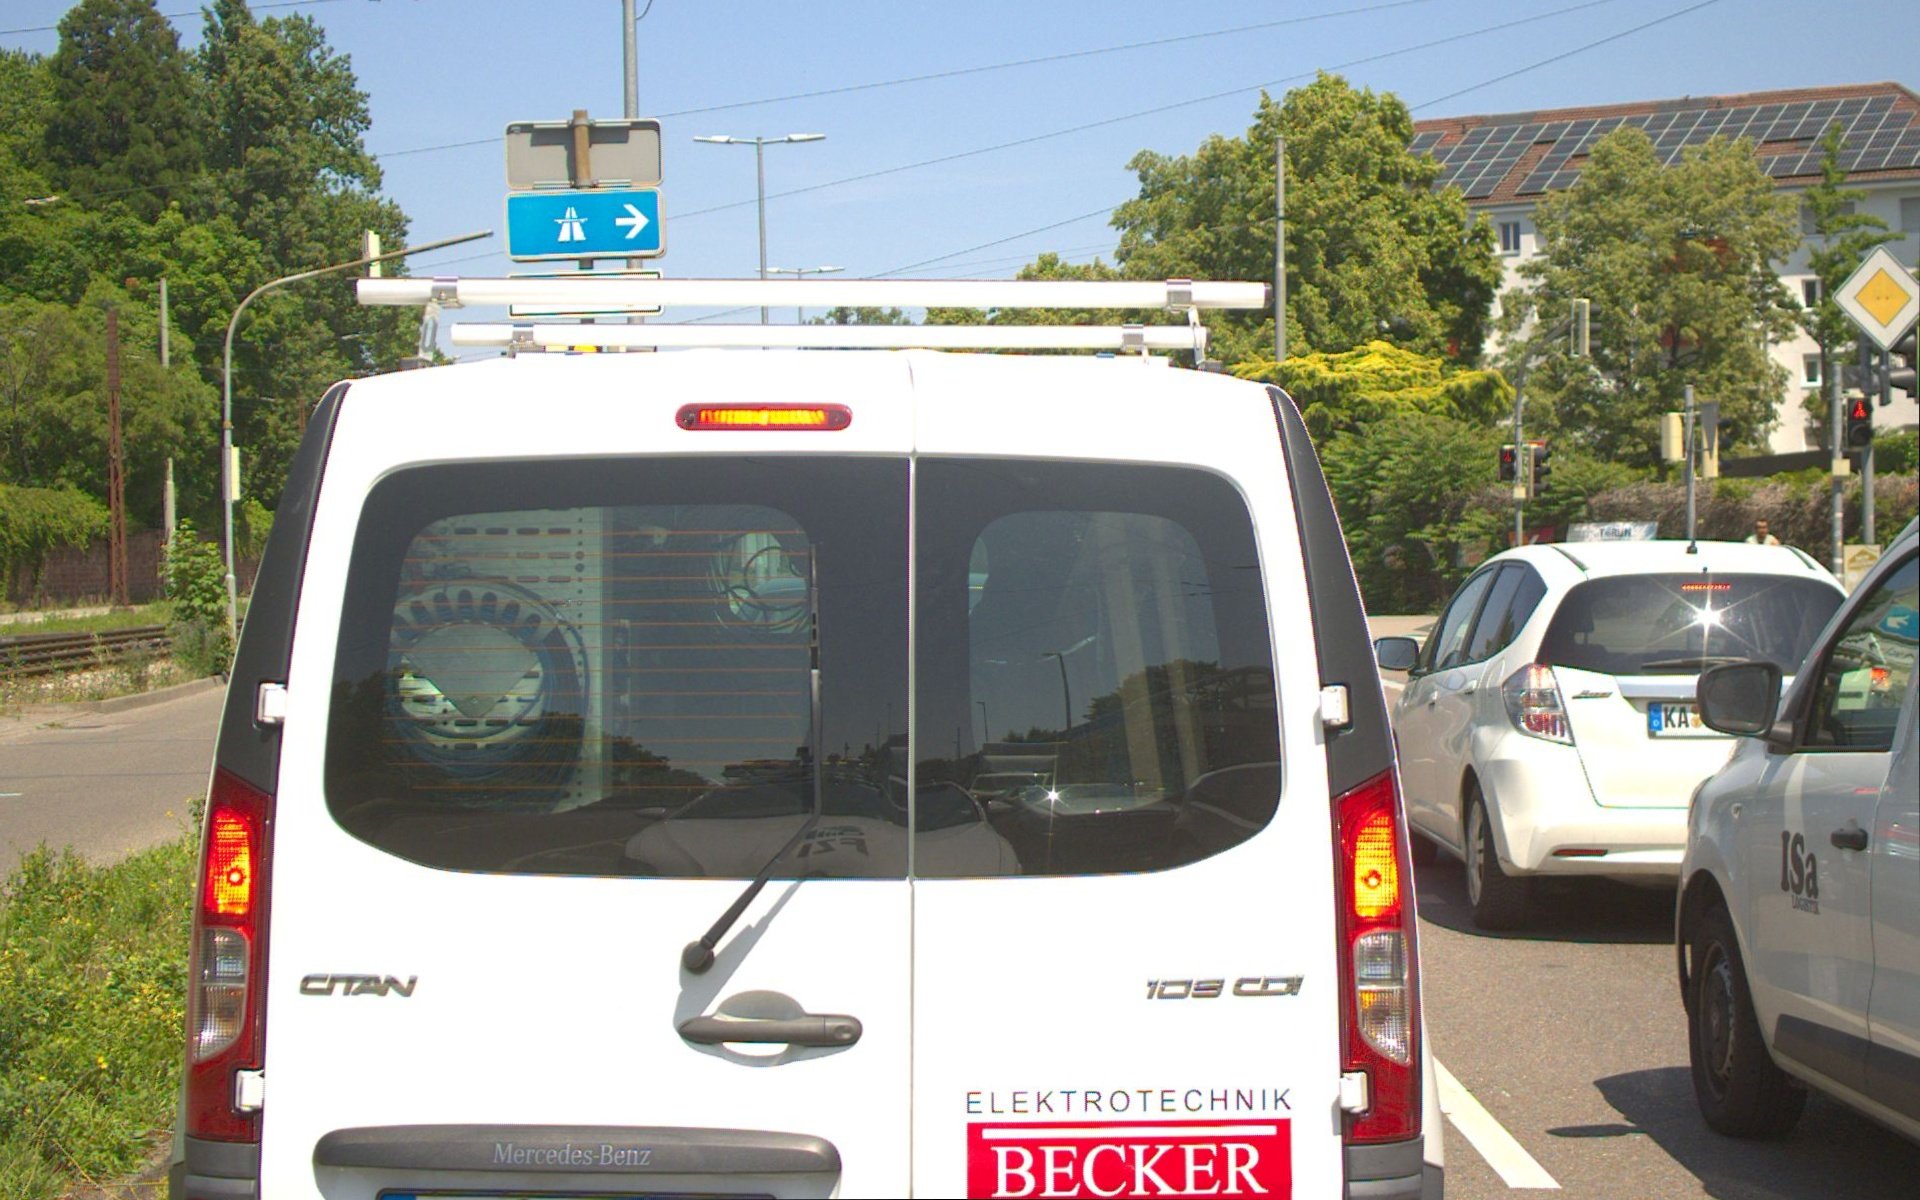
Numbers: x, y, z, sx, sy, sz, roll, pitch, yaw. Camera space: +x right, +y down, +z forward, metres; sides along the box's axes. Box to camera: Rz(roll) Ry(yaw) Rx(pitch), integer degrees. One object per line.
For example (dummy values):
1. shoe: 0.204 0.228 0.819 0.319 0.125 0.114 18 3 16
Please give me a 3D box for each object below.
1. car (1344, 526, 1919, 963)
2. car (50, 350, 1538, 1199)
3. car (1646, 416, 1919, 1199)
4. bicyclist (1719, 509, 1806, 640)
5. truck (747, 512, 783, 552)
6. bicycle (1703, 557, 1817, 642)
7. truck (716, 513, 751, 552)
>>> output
1. car: 2.808 0.490 14.598 1.835 1.563 4.000 1 1 -1
2. car: -0.231 0.535 6.426 1.821 1.734 4.396 0 1 -1
3. car: 2.784 0.526 7.276 1.727 1.782 4.065 1 1 -2
4. bicyclist: 11.089 -0.353 47.508 0.973 1.782 0.726 0 0 -7
5. truck: -13.131 -4.577 231.584 2.139 2.579 5.890 1 1 -1
6. bicycle: 11.050 -0.017 47.533 0.892 1.155 1.956 0 1 -7
7. truck: -15.798 -4.700 240.184 2.139 2.579 5.890 1 1 -1
